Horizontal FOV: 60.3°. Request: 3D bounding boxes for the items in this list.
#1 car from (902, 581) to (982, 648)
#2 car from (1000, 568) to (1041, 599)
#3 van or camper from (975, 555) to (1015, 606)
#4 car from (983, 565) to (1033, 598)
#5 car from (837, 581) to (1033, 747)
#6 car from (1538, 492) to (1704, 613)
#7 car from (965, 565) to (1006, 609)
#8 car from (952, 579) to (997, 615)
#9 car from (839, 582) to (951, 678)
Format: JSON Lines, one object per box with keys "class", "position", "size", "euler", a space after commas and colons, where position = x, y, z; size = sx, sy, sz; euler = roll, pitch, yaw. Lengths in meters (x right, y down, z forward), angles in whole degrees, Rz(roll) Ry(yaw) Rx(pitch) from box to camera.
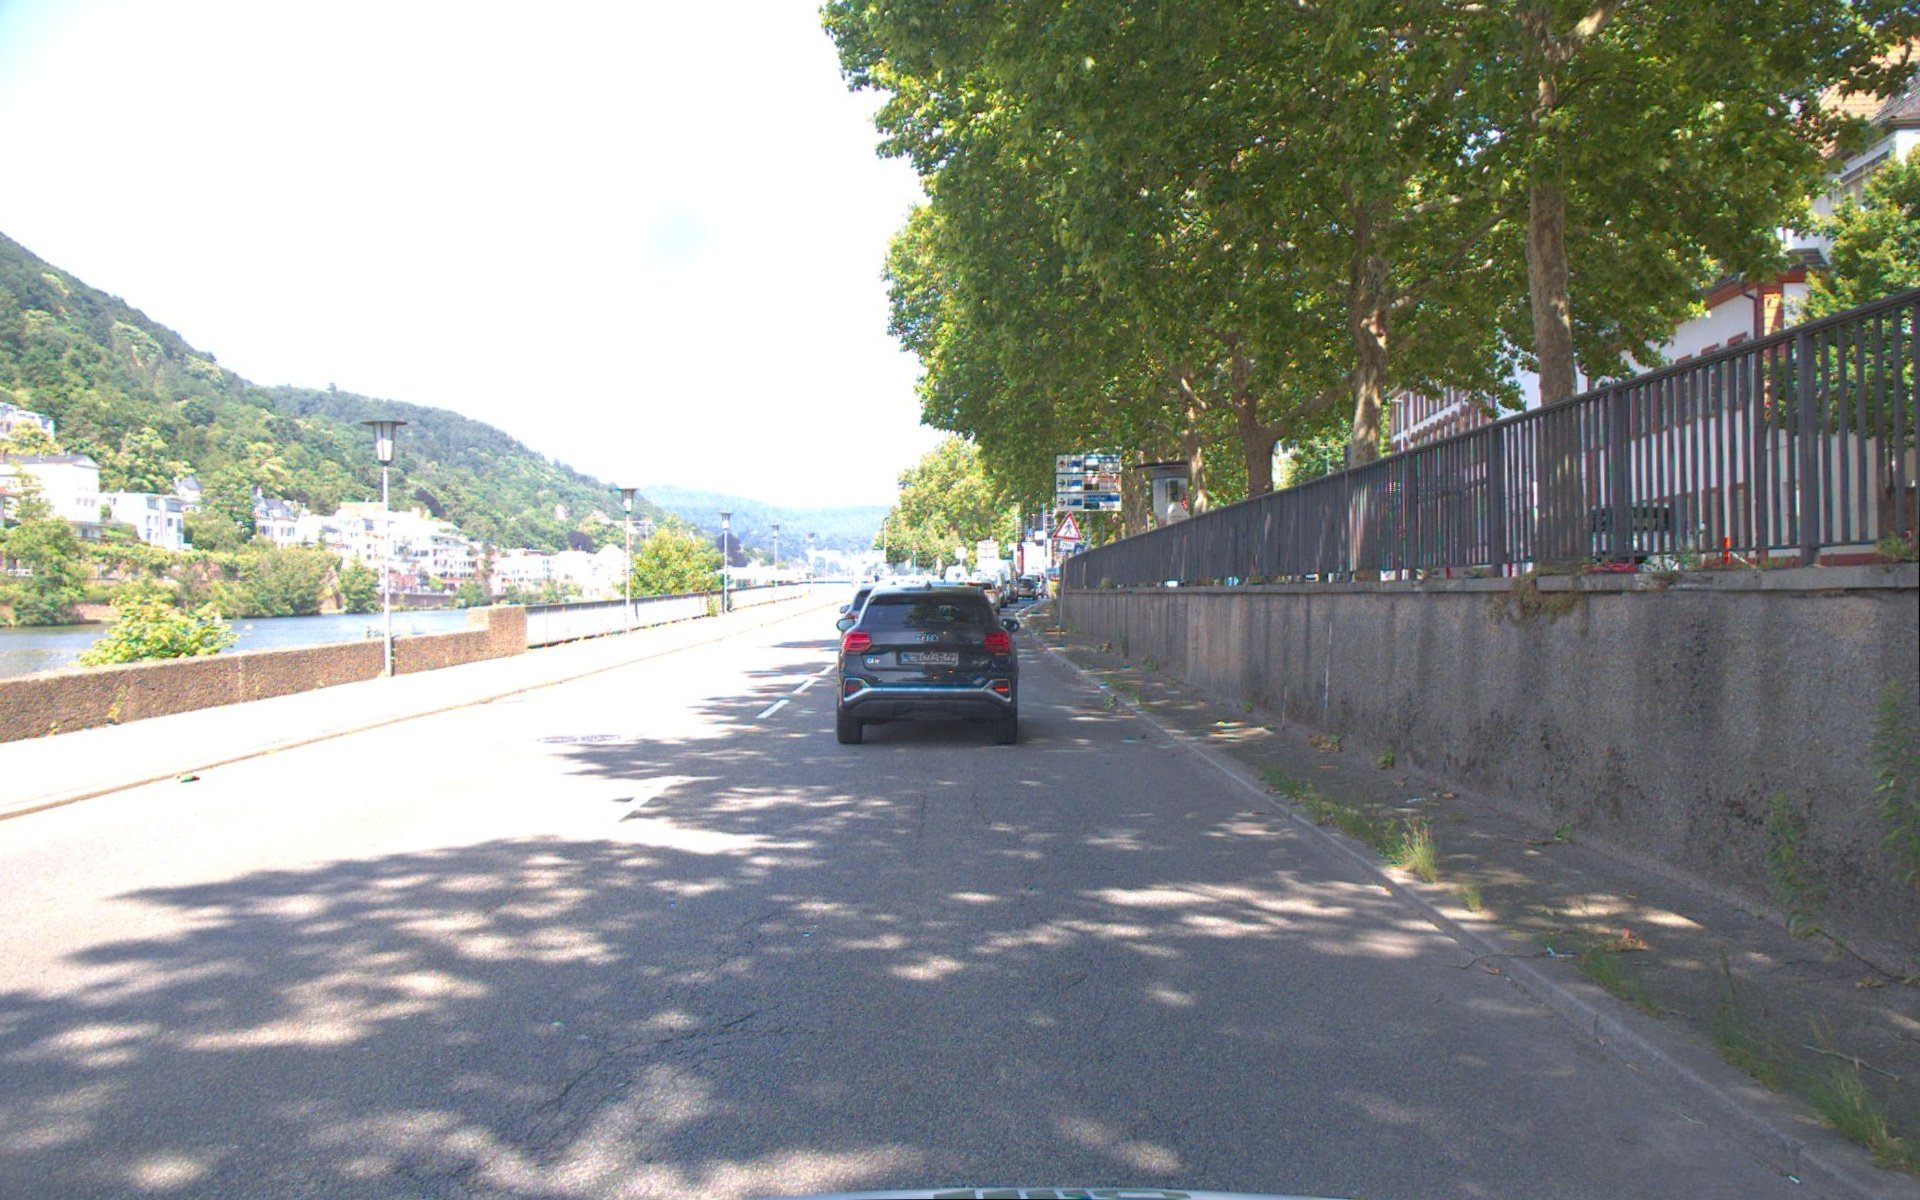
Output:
{"class": "car", "position": [-0.450, 0.314, 39.423], "size": [1.791, 1.512, 3.999], "euler": [0, 0, -1]}
{"class": "car", "position": [4.483, -1.231, 122.933], "size": [2.608, 2.048, 5.823], "euler": [-3, 1, -1]}
{"class": "van or camper", "position": [2.061, -1.149, 99.211], "size": [2.262, 2.897, 4.246], "euler": [-2, 0, 1]}
{"class": "car", "position": [3.223, -1.253, 112.647], "size": [3.036, 2.048, 5.823], "euler": [-3, 1, -1]}
{"class": "car", "position": [-0.271, 0.571, 17.144], "size": [1.791, 1.512, 3.999], "euler": [0, 0, -1]}
{"class": "car", "position": [9.157, -0.611, 22.736], "size": [1.740, 1.495, 3.995], "euler": [0, 1, 27]}
{"class": "car", "position": [1.346, -0.683, 87.991], "size": [1.953, 2.207, 3.999], "euler": [-2, 0, -1]}
{"class": "car", "position": [0.581, -0.135, 70.460], "size": [1.791, 1.469, 3.999], "euler": [0, 0, -1]}
{"class": "car", "position": [-1.079, 0.459, 28.482], "size": [1.791, 1.537, 3.999], "euler": [0, 0, -1]}
